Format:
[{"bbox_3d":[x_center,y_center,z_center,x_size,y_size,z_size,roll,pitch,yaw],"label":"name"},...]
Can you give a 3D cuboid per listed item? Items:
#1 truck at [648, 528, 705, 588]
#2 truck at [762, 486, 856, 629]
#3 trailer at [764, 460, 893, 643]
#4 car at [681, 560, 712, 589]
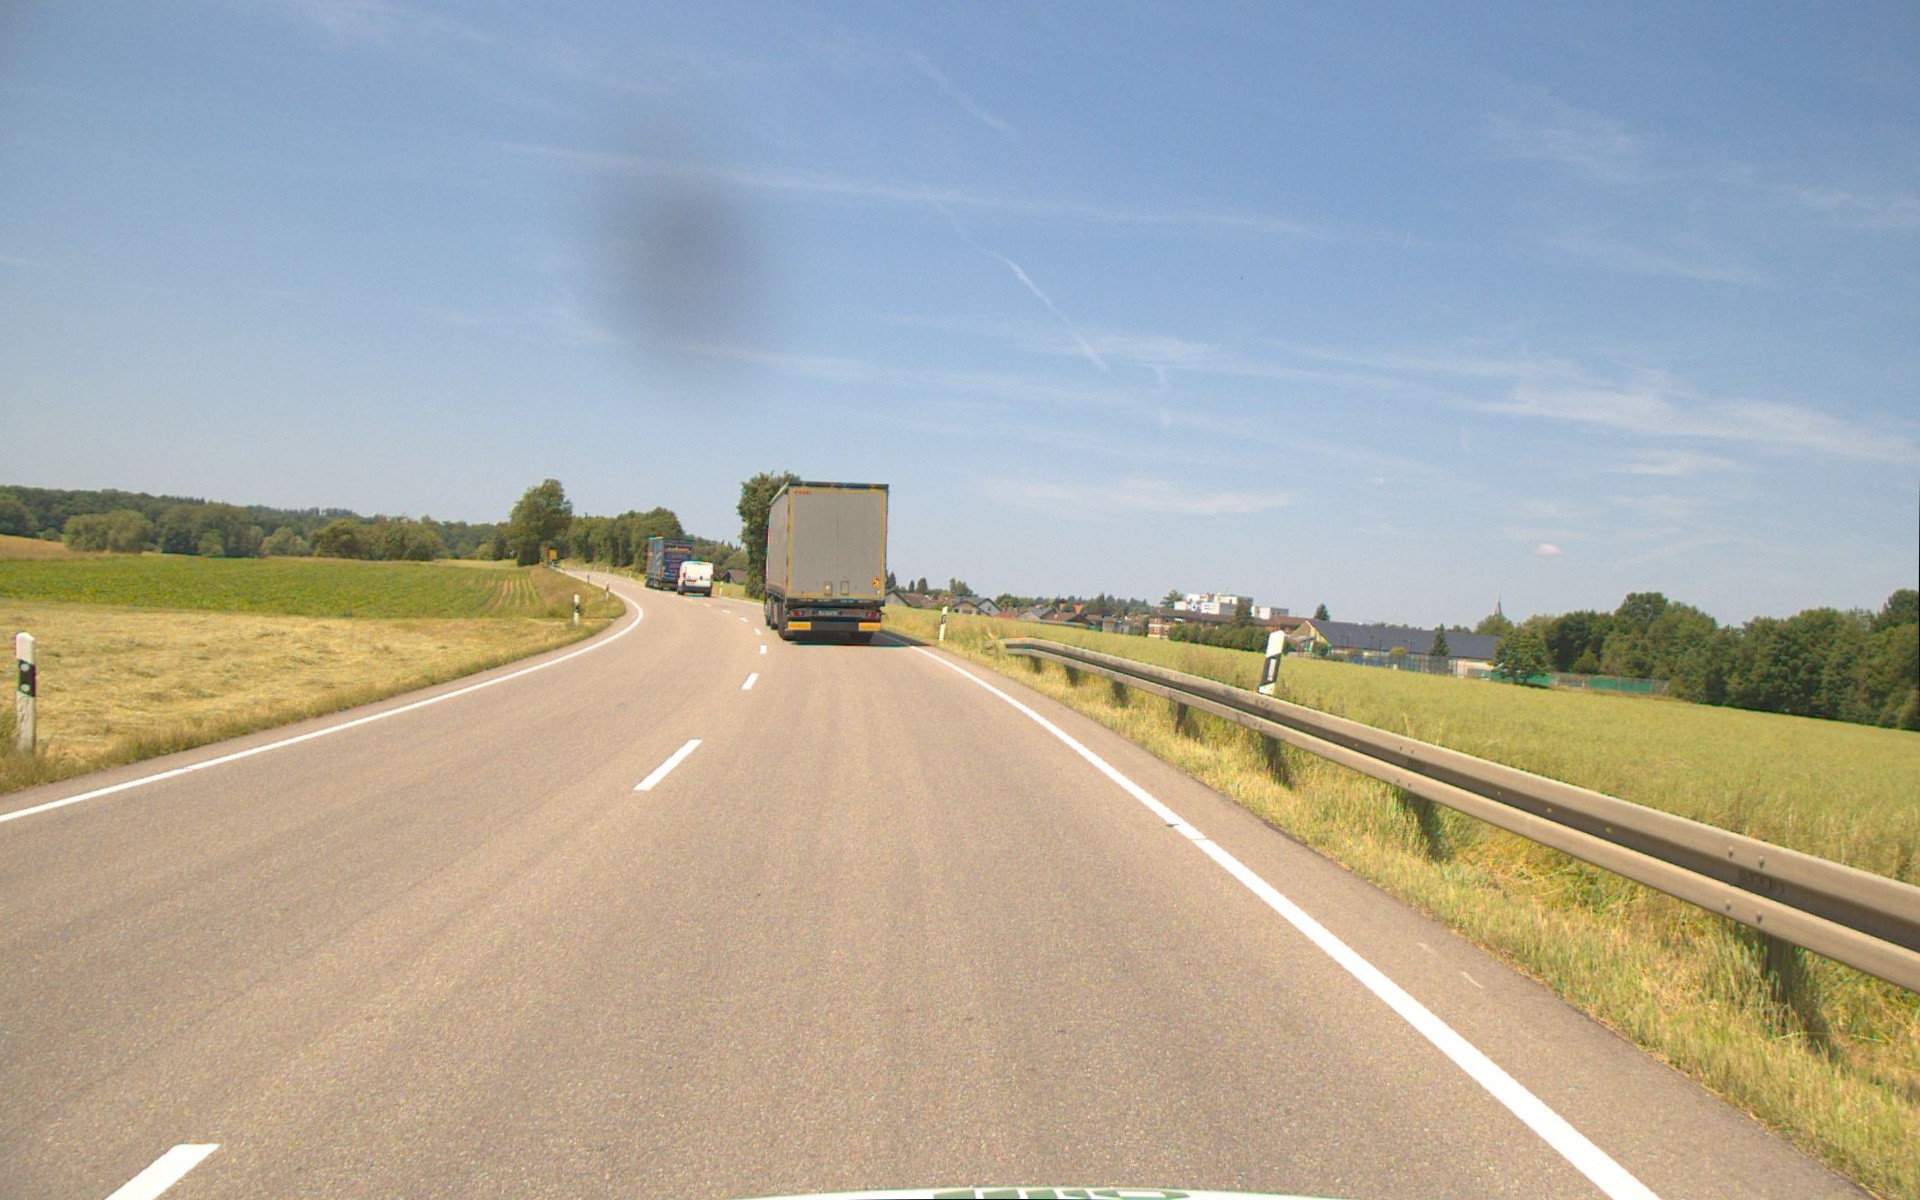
[{"bbox_3d":[-23.378,-3.378,135.609,3.488,4.468,18.063,3,0,-13],"label":"truck"},{"bbox_3d":[-5.036,-1.354,54.372,2.806,4.477,5.062,0,1,-8],"label":"truck"},{"bbox_3d":[-4.017,-1.268,47.423,2.813,4.477,13.468,0,1,-8],"label":"trailer"},{"bbox_3d":[-17.709,-1.712,111.069,1.696,1.905,3.986,2,0,-14],"label":"car"}]
